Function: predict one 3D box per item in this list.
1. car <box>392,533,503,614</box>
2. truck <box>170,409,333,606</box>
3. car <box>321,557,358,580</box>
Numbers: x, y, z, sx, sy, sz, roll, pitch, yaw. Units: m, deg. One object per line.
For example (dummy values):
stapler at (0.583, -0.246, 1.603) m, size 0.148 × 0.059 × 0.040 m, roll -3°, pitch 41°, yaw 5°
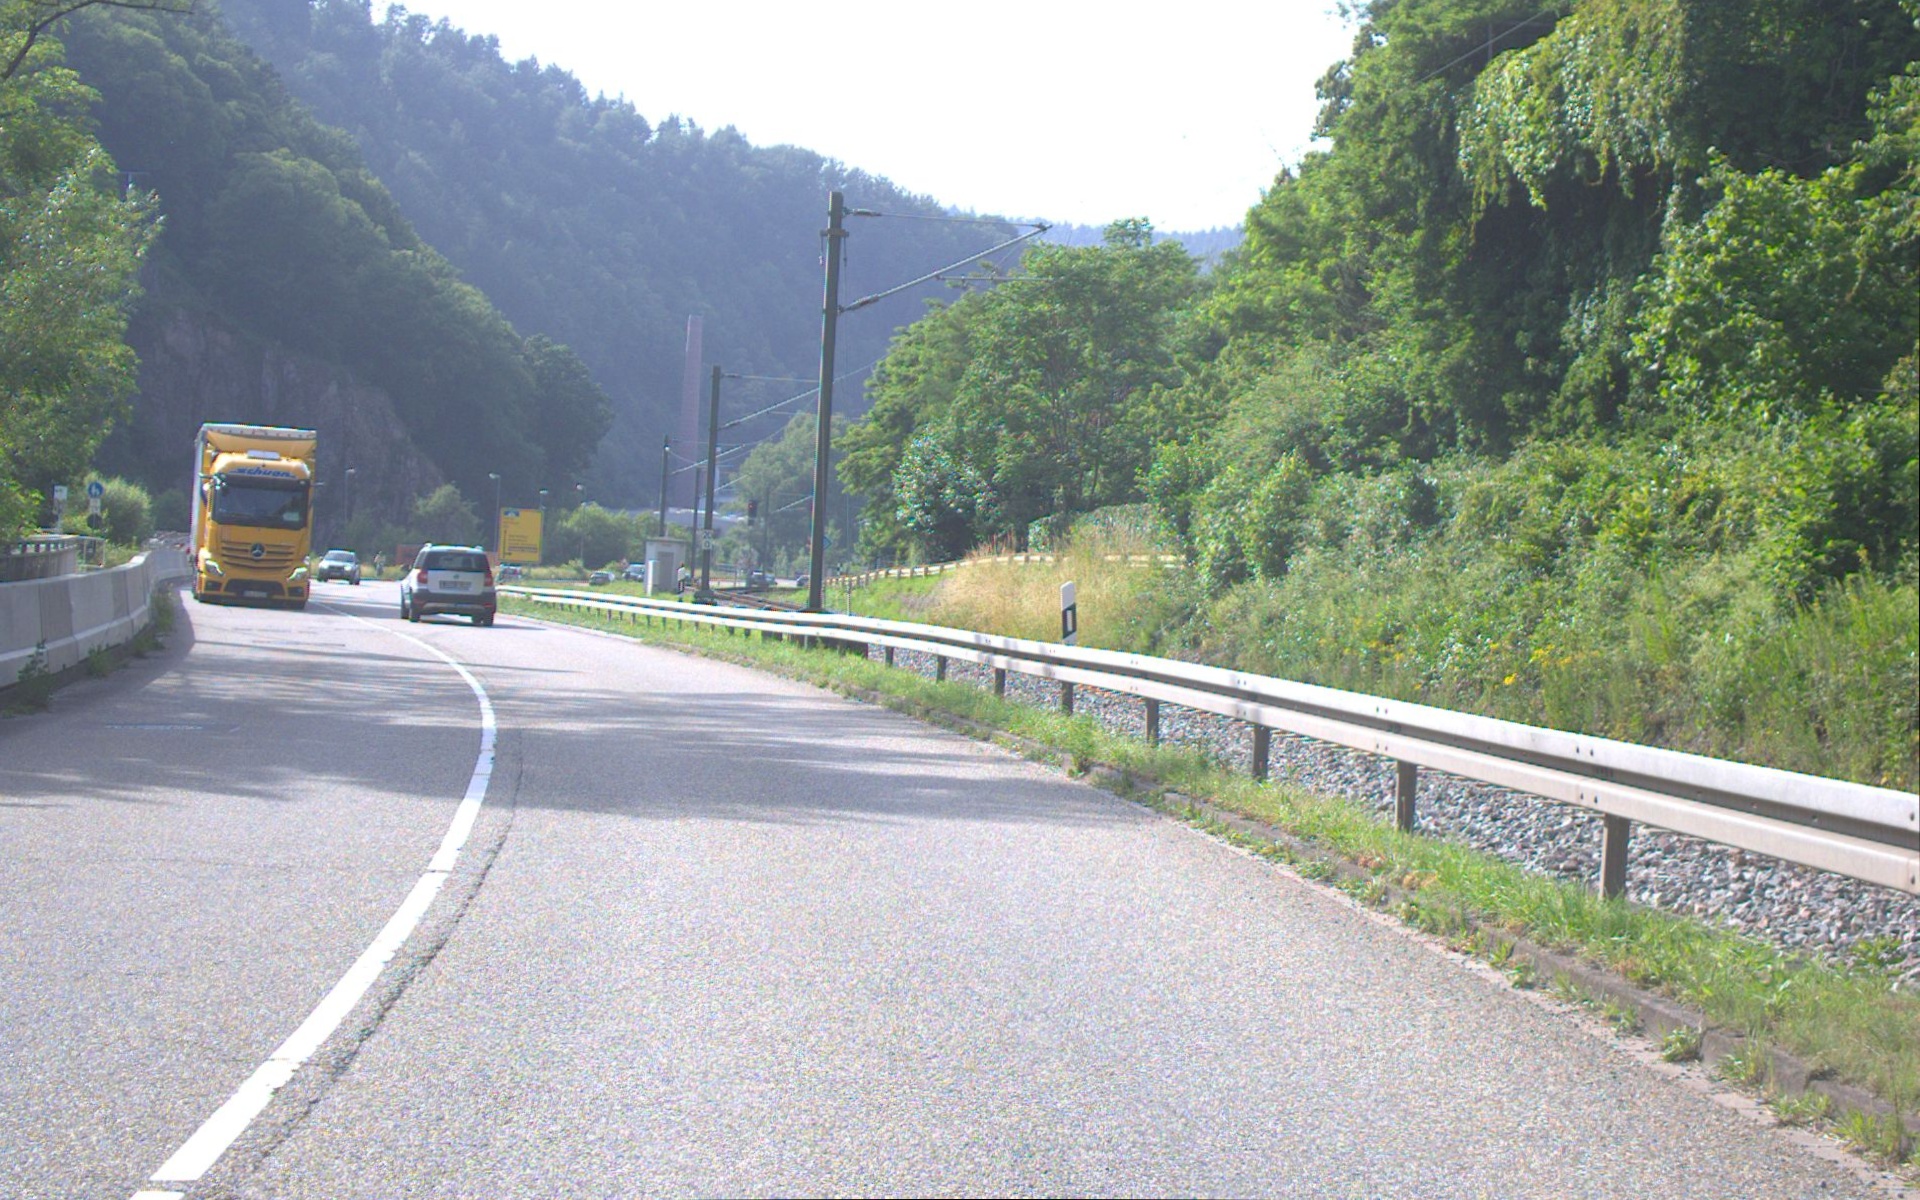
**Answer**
car at (-10.946, -0.576, 73.227) m, size 1.872 × 1.650 × 4.001 m, roll 1°, pitch 0°, yaw -15°
truck at (-17.198, -2.119, 82.779) m, size 3.368 × 4.368 × 12.713 m, roll 0°, pitch 1°, yaw -14°
car at (-31.918, -1.623, 176.889) m, size 1.472 × 1.081 × 3.274 m, roll 4°, pitch 0°, yaw -4°
